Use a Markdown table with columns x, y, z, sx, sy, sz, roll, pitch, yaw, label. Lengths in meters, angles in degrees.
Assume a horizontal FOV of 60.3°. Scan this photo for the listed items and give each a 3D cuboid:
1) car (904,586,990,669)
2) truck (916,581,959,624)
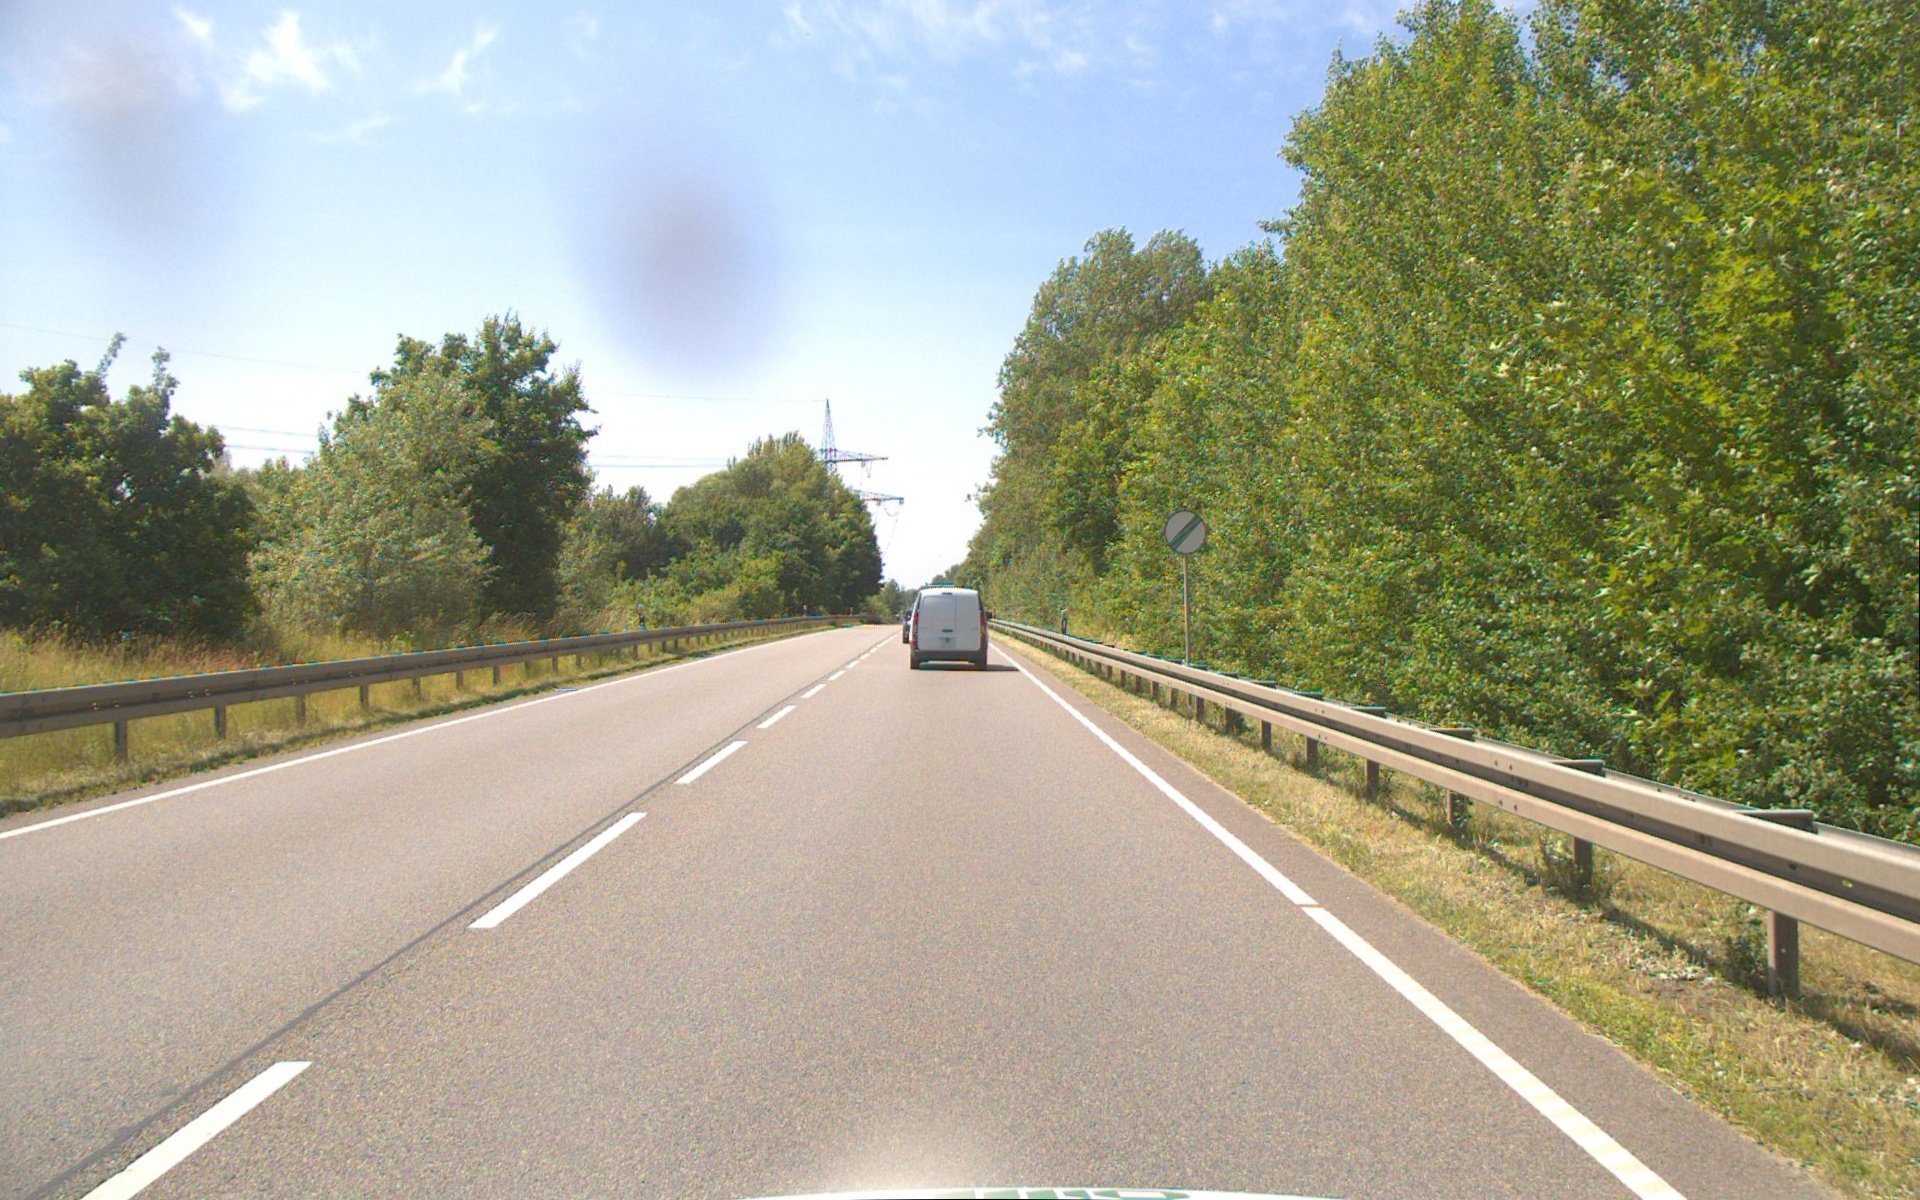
| x | y | z | sx | sy | sz | roll | pitch | yaw | label |
| --- | --- | --- | --- | --- | --- | --- | --- | --- | --- |
| -0.314 | 0.598 | 37.895 | 1.837 | 1.772 | 3.999 | 1 | 0 | -1 | car |
| -1.893 | 0.201 | 135.024 | 3.230 | 3.227 | 14.400 | 2 | 0 | -1 | truck |
